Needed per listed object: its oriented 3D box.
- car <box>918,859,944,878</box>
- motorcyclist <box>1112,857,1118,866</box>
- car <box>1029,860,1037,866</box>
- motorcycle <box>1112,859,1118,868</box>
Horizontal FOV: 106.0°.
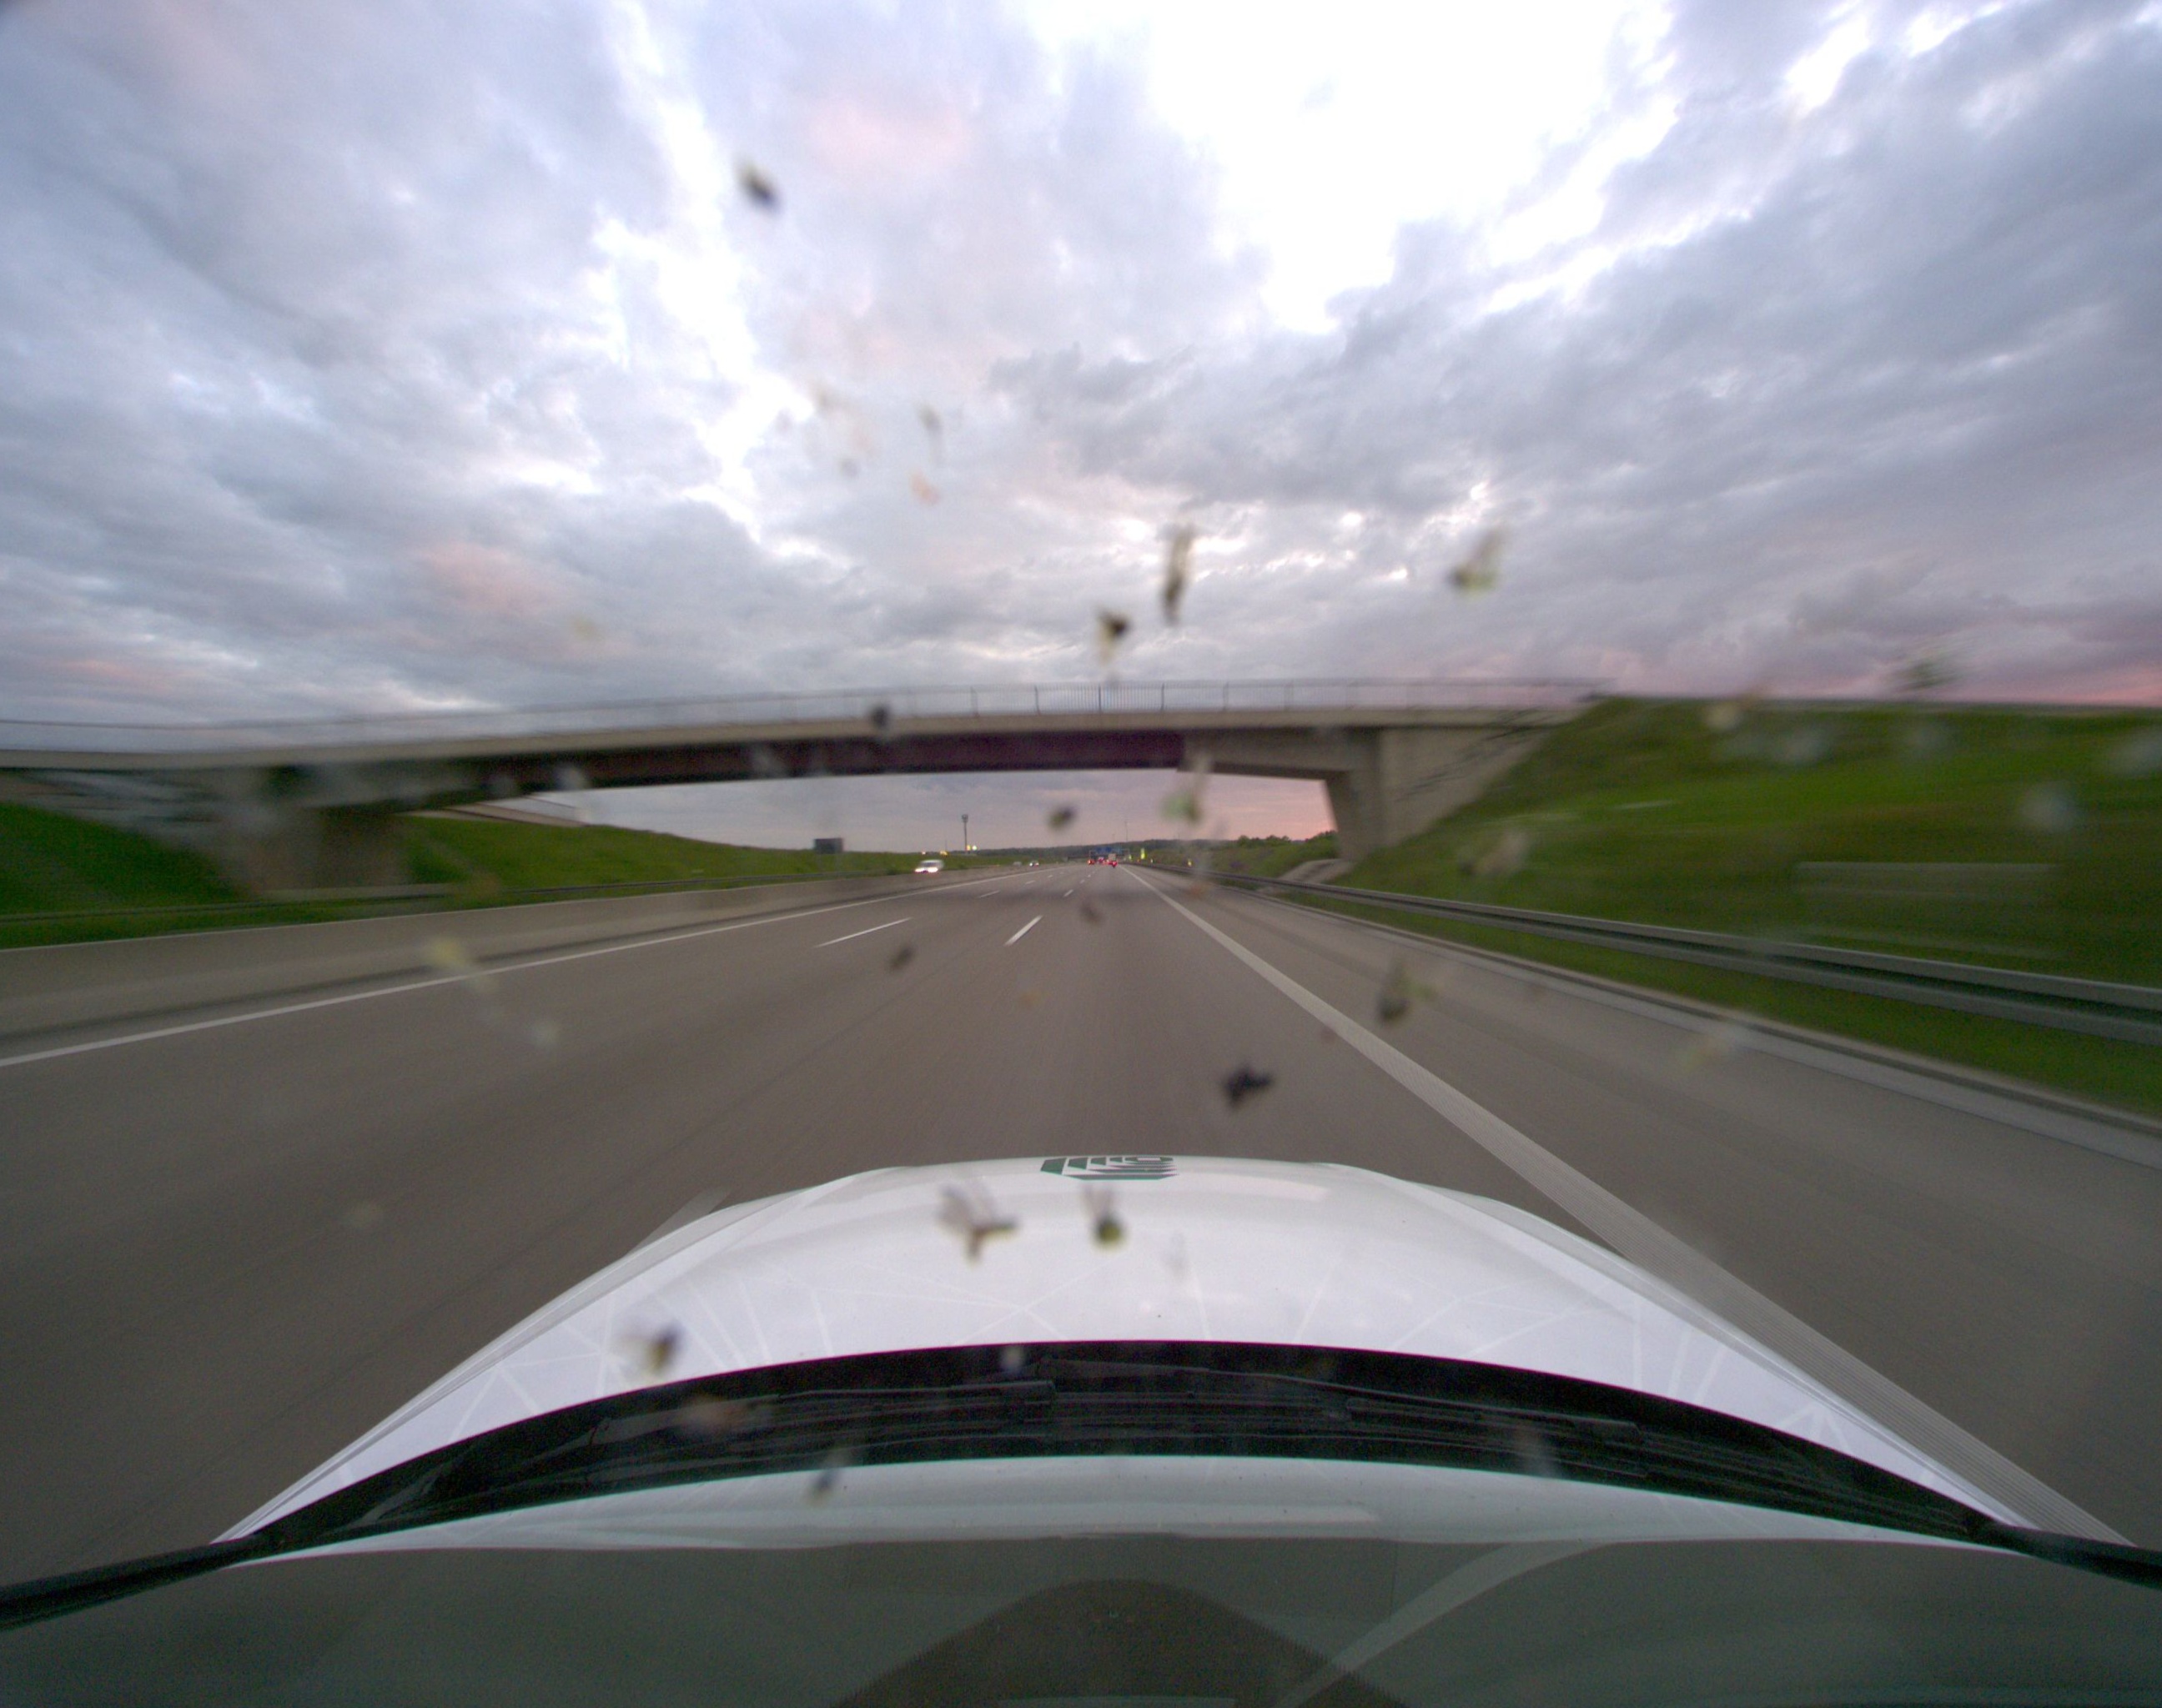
[{"bbox_3d":[-15.909,1.560,86.771,1.816,1.935,4.894,0,0,1],"label":"car"},{"bbox_3d":[5.387,1.204,129.502,0.862,1.488,1.169,0,0,3],"label":"motorcyclist"},{"bbox_3d":[-14.036,2.605,240.144,1.986,1.936,5.091,0,0,1],"label":"car"},{"bbox_3d":[5.354,1.566,129.421,0.898,1.346,2.350,-1,0,2],"label":"motorcycle"}]
